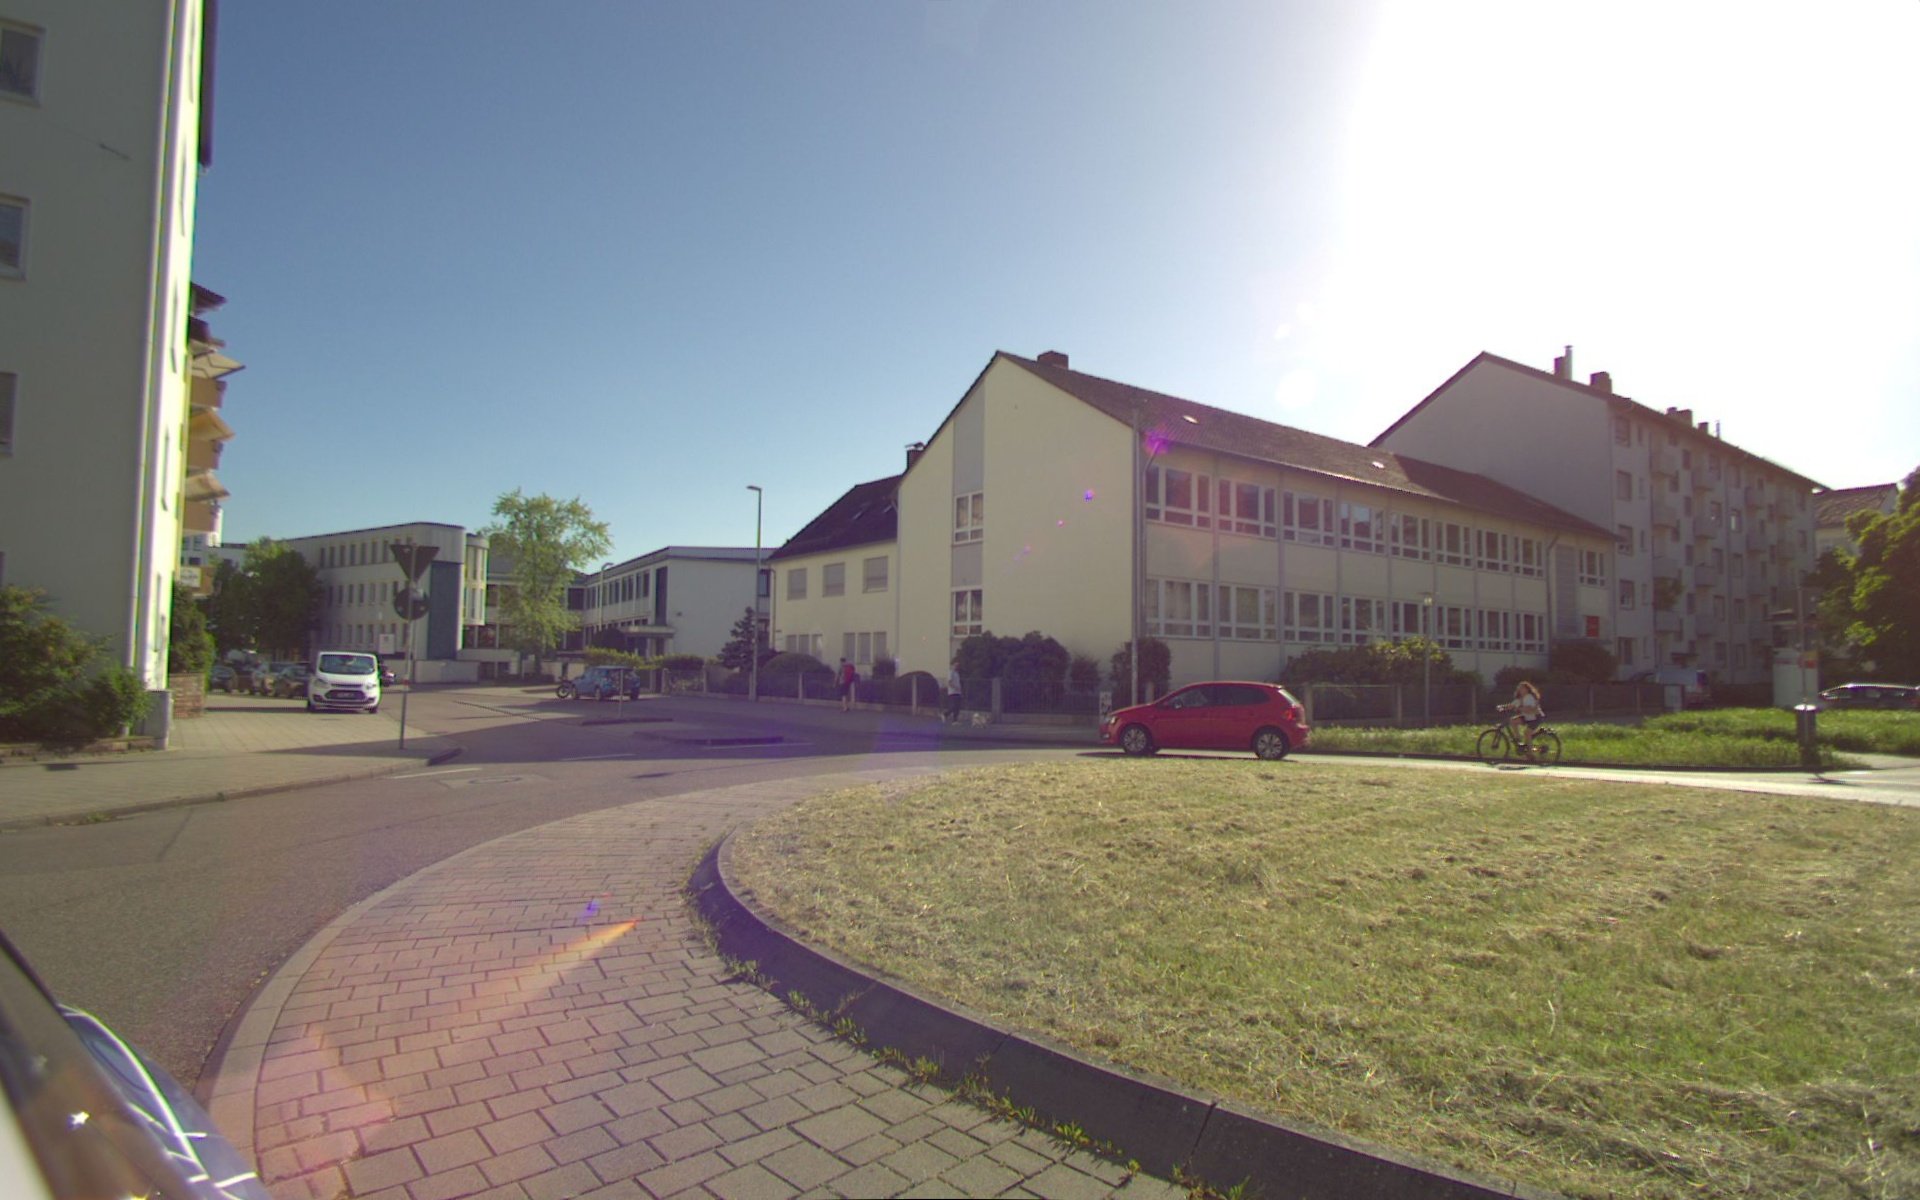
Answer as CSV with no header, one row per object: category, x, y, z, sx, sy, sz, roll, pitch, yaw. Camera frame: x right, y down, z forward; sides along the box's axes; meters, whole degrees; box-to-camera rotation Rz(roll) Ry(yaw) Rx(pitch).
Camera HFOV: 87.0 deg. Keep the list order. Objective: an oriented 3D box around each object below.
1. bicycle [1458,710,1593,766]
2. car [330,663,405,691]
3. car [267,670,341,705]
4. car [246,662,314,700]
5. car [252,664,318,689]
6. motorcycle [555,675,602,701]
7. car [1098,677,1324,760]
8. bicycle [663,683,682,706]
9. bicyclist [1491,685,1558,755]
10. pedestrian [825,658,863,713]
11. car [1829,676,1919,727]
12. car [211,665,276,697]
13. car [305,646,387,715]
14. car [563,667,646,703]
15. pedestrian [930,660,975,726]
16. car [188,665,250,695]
bicycle,11.158,2.722,20.001,2.178,1.022,0.811,0,-3,-2
car,-36.980,4.780,63.155,4.821,1.626,2.115,-2,-3,33
car,-29.176,3.881,44.980,4.000,1.405,1.734,-3,-9,43
car,-32.405,3.852,48.188,4.001,1.655,1.733,-3,-9,44
car,-46.545,5.219,69.749,4.823,1.626,2.114,-2,-3,34
motorcycle,-17.354,4.000,46.108,1.931,1.104,0.592,0,-4,-13
car,4.783,2.220,19.304,3.974,1.393,1.703,-1,-6,23
bicycle,-13.172,4.306,46.356,0.340,1.023,1.265,5,-6,-40
bicyclist,11.146,2.357,20.015,0.813,1.322,0.811,0,-3,-2
pedestrian,-3.708,2.710,32.453,0.806,1.719,0.999,2,-4,-38
car,35.013,3.720,37.297,1.966,1.785,4.012,3,-5,-29
car,-37.577,4.235,53.029,3.997,1.465,1.735,-3,-9,41
car,-20.493,2.669,33.682,1.967,2.029,4.809,7,-7,-33
car,-15.450,3.636,43.826,1.856,1.445,4.420,2,-4,-41
pedestrian,-0.212,2.454,26.906,0.996,1.719,0.683,-3,-4,39
car,-40.999,4.411,55.954,3.996,1.465,1.735,-2,-9,40
